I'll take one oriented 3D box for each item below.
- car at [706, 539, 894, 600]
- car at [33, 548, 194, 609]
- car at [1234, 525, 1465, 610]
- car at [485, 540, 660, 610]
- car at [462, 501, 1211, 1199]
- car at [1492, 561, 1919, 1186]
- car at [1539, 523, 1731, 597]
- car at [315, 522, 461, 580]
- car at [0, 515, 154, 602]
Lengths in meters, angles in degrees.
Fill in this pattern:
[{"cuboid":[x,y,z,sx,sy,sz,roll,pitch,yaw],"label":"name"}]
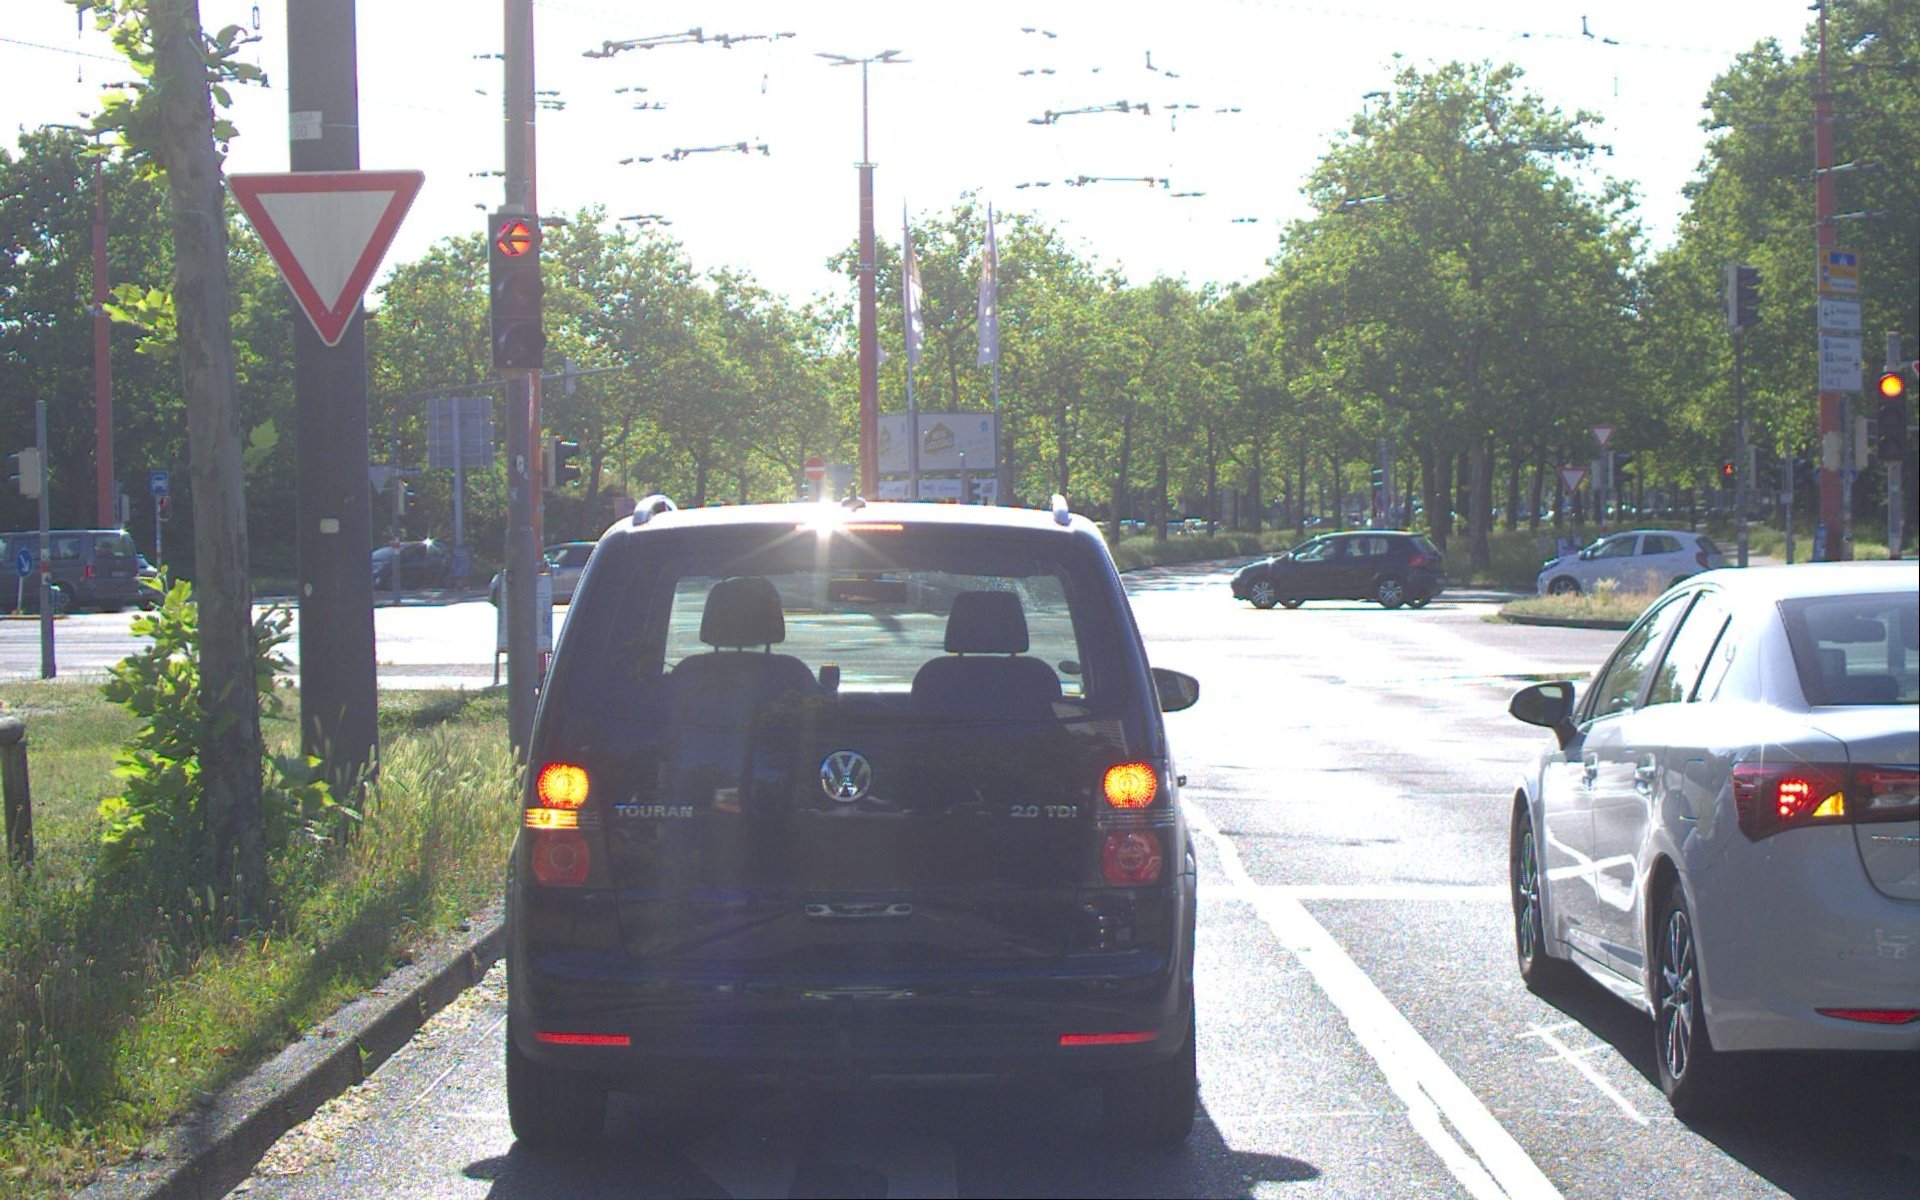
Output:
[{"cuboid":[-3.544,-0.674,76.165,3.833,1.260,1.601,1,1,23],"label":"car"},{"cuboid":[-21.105,-0.539,85.683,3.741,1.468,1.598,0,1,26],"label":"car"},{"cuboid":[7.525,-0.635,66.331,4.028,1.590,1.998,0,1,23],"label":"car"},{"cuboid":[-8.201,-0.542,72.790,3.398,1.452,1.463,0,1,23],"label":"car"},{"cuboid":[-0.310,0.552,9.811,1.700,1.616,3.897,0,1,-1],"label":"car"},{"cuboid":[2.720,0.620,10.103,1.720,1.433,4.198,1,1,1],"label":"car"},{"cuboid":[13.208,-0.785,67.296,3.441,1.364,1.288,1,1,26],"label":"car"},{"cuboid":[-16.834,-1.440,101.258,1.919,1.630,3.991,2,1,37],"label":"car"},{"cuboid":[-21.405,-0.971,80.680,4.576,2.007,1.997,0,1,24],"label":"car"}]
